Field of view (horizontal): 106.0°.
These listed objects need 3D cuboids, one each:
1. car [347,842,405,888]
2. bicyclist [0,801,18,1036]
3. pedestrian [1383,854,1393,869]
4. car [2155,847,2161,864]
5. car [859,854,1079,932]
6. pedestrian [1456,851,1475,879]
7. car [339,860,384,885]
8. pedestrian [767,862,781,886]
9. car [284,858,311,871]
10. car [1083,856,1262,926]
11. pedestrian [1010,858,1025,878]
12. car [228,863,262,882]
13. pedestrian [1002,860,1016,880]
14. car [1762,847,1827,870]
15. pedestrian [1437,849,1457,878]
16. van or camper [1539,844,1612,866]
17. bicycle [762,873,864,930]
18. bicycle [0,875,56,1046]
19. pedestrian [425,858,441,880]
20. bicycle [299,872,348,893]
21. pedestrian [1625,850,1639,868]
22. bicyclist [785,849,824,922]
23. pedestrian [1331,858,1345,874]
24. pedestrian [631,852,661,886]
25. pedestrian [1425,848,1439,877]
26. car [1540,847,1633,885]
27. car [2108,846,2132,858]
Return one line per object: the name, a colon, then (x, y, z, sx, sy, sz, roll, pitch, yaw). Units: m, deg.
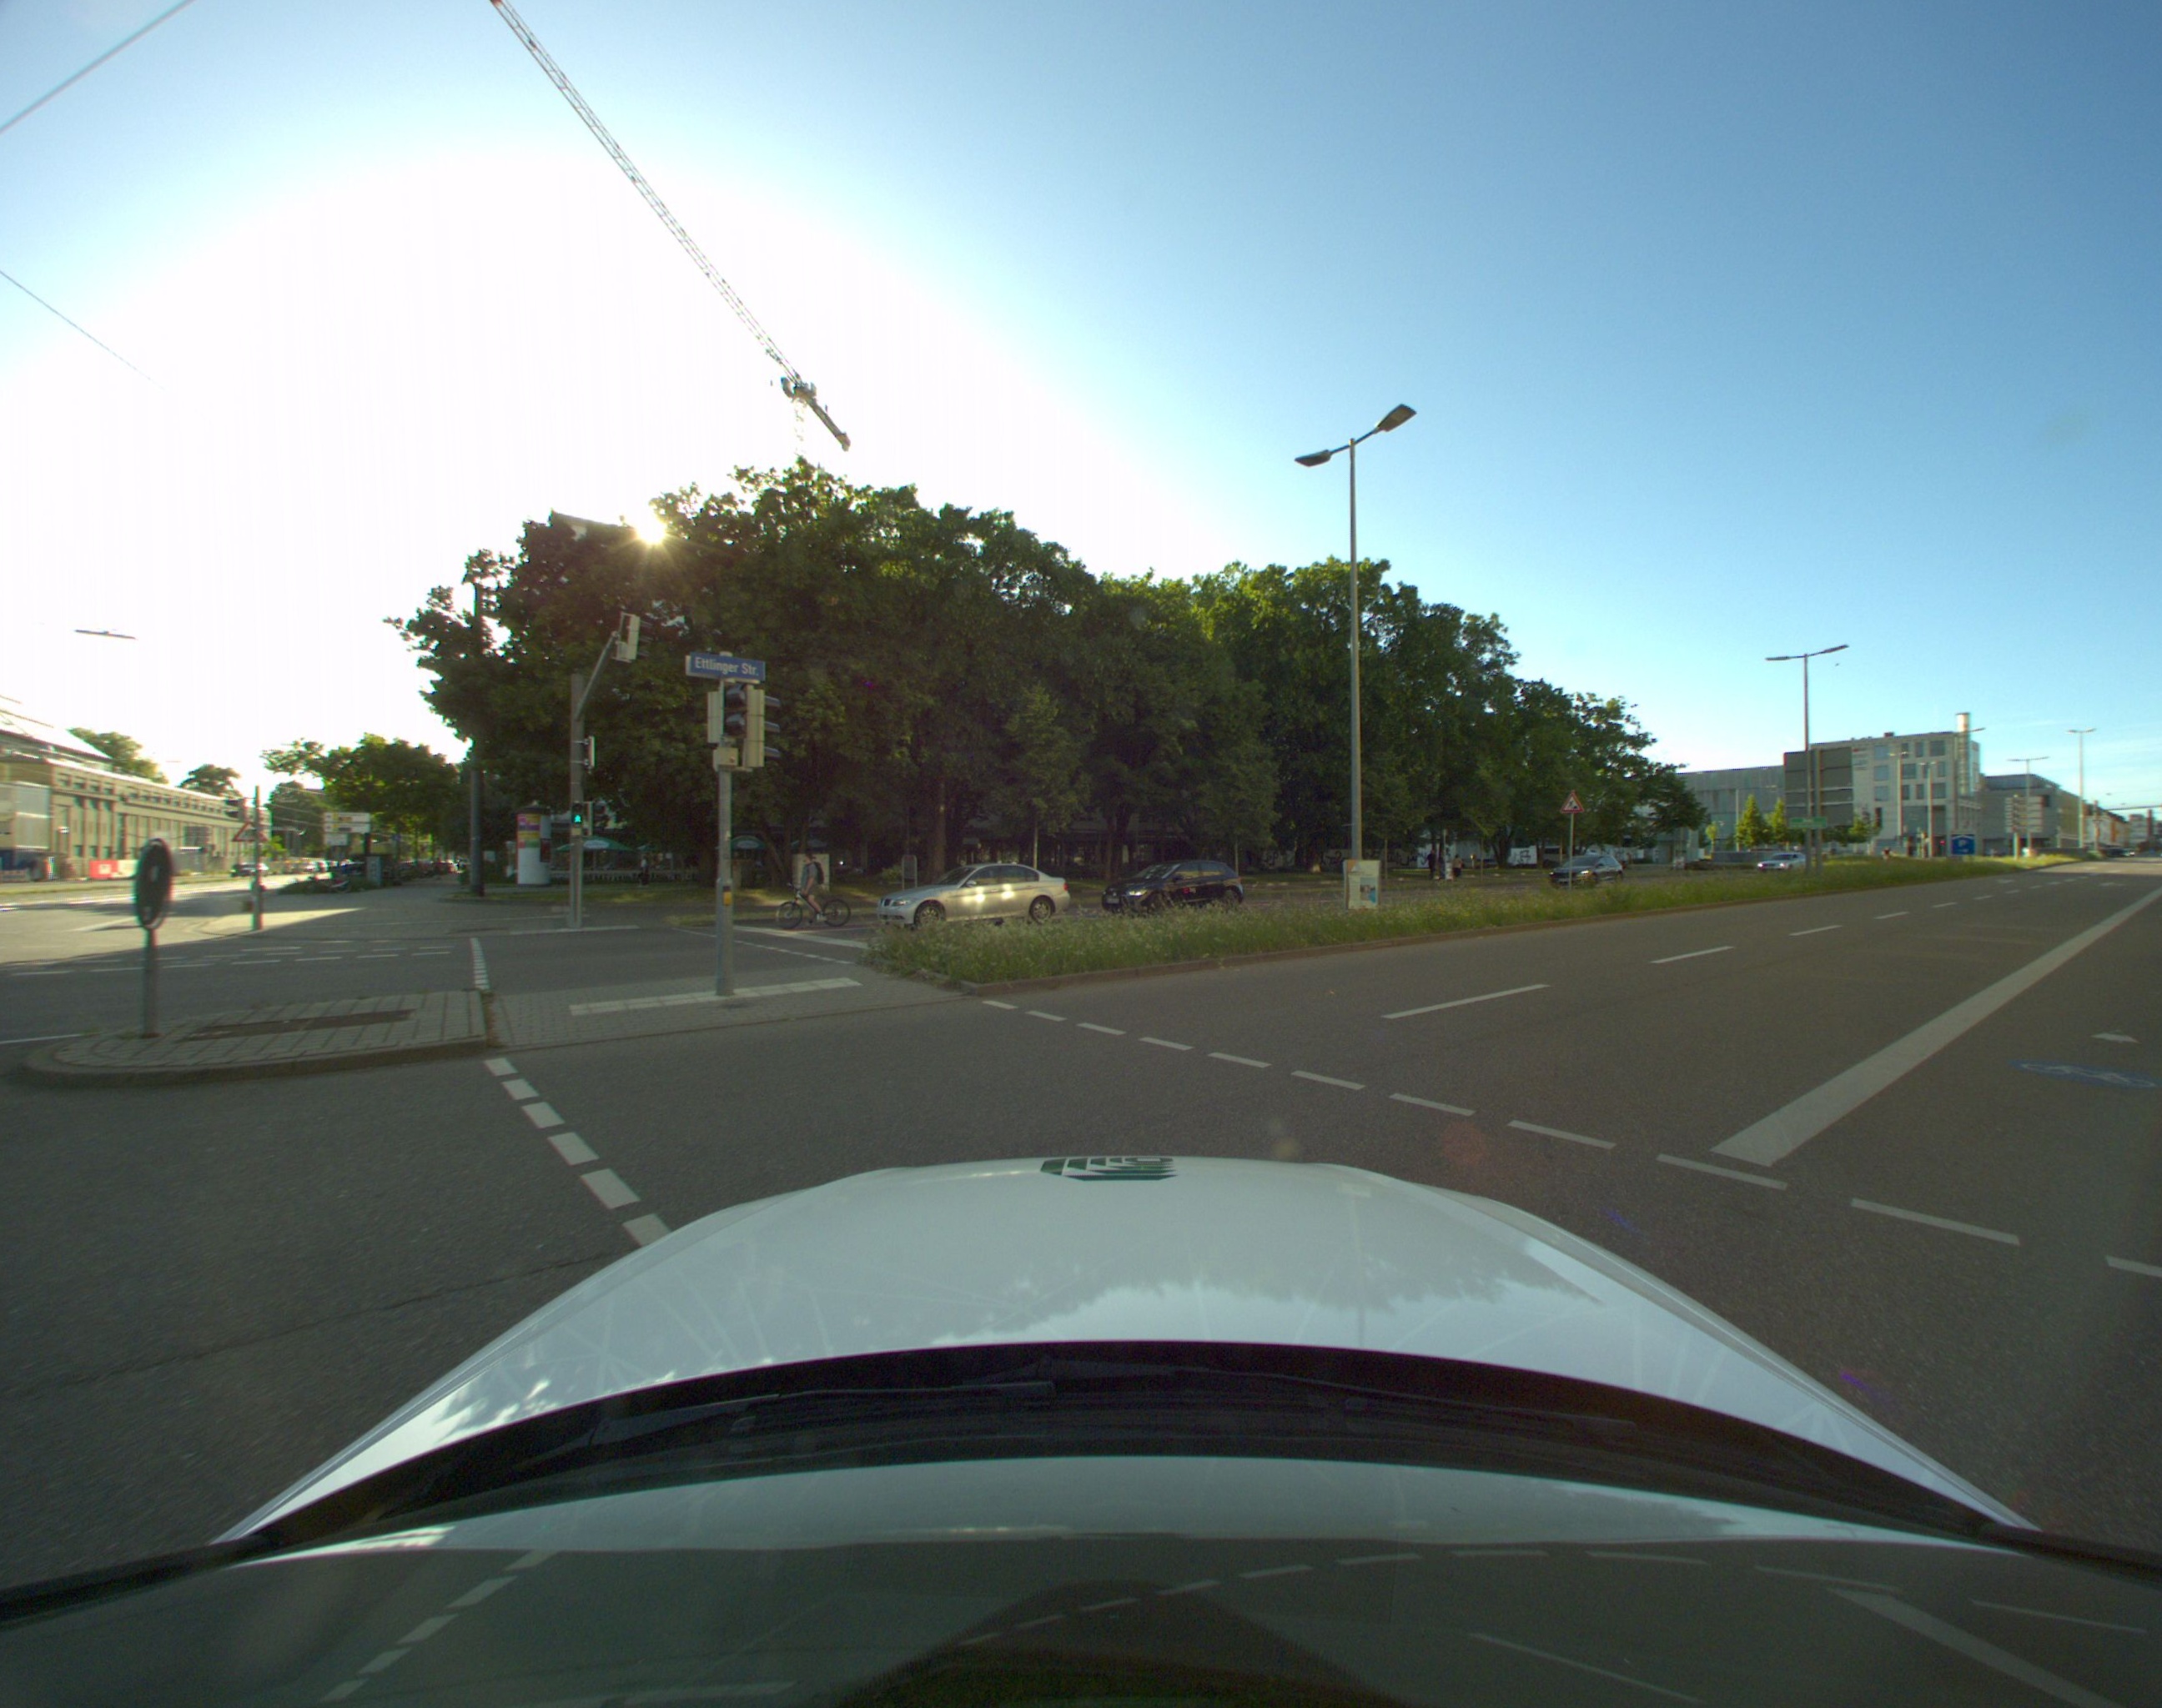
car: (-47.358, 0.743, 54.792, 2.612, 2.952, 5.032, 0, -1, -37)
bicyclist: (-7.910, 0.446, 5.368, 0.779, 1.691, 0.915, 2, -4, -35)
pedestrian: (32.412, 0.797, 85.999, 0.747, 1.641, 0.719, 0, -1, -29)
car: (102.497, 0.132, 76.395, 3.809, 1.564, 1.760, 0, -1, -42)
car: (-2.497, 0.832, 18.643, 4.568, 1.561, 1.978, 0, -3, -35)
pedestrian: (22.857, 0.643, 48.453, 0.728, 1.641, 0.737, 0, -1, -31)
car: (-43.791, 1.105, 49.628, 1.711, 1.428, 3.955, 0, -1, -37)
pedestrian: (-17.460, 1.140, 46.335, 0.601, 1.340, 0.726, 0, -1, -32)
car: (-99.510, 1.327, 103.428, 2.009, 1.640, 3.955, 0, -1, -37)
car: (2.492, 0.902, 21.733, 4.568, 1.675, 1.979, 0, -1, -35)
pedestrian: (-4.354, 0.940, 55.591, 0.718, 1.340, 0.821, 0, -1, -32)
car: (-92.096, 2.013, 89.763, 2.009, 1.970, 3.955, 0, -1, -37)
pedestrian: (-4.887, 1.088, 55.254, 0.667, 1.340, 0.899, 0, -1, -32)
car: (48.999, 0.329, 55.909, 4.600, 1.526, 1.921, 0, -1, -30)
pedestrian: (22.040, 0.565, 49.054, 0.763, 1.740, 0.766, 0, -1, -31)
van or camper: (47.595, 0.141, 78.488, 2.266, 2.014, 5.622, 2, -2, -33)
bicycle: (-6.329, 1.093, 19.267, 2.249, 1.240, 0.773, -1, -1, -20)
bicycle: (-7.905, 0.747, 5.339, 0.781, 1.240, 2.287, 2, -4, -35)
pedestrian: (-50.031, 1.160, 62.887, 0.883, 1.740, 0.789, -1, -1, 36)
bicycle: (-34.428, 1.293, 37.012, 1.615, 0.889, 0.761, 0, -1, -43)
pedestrian: (46.138, 0.414, 68.177, 0.945, 1.527, 0.609, -1, 0, -30)
bicyclist: (-6.523, 0.725, 19.203, 0.839, 1.679, 0.778, 0, -2, -20)
pedestrian: (23.863, 1.115, 75.527, 0.899, 1.540, 0.894, 0, -1, -42)
pedestrian: (-22.562, 0.764, 42.255, 1.215, 1.740, 0.889, 0, -1, -19)
pedestrian: (21.509, 0.502, 49.926, 0.657, 1.740, 0.520, 0, -1, -31)
car: (22.205, 0.505, 35.752, 4.077, 1.564, 1.979, 0, -1, -35)
car: (159.999, -0.349, 125.389, 4.665, 1.742, 1.979, -2, 1, -35)
